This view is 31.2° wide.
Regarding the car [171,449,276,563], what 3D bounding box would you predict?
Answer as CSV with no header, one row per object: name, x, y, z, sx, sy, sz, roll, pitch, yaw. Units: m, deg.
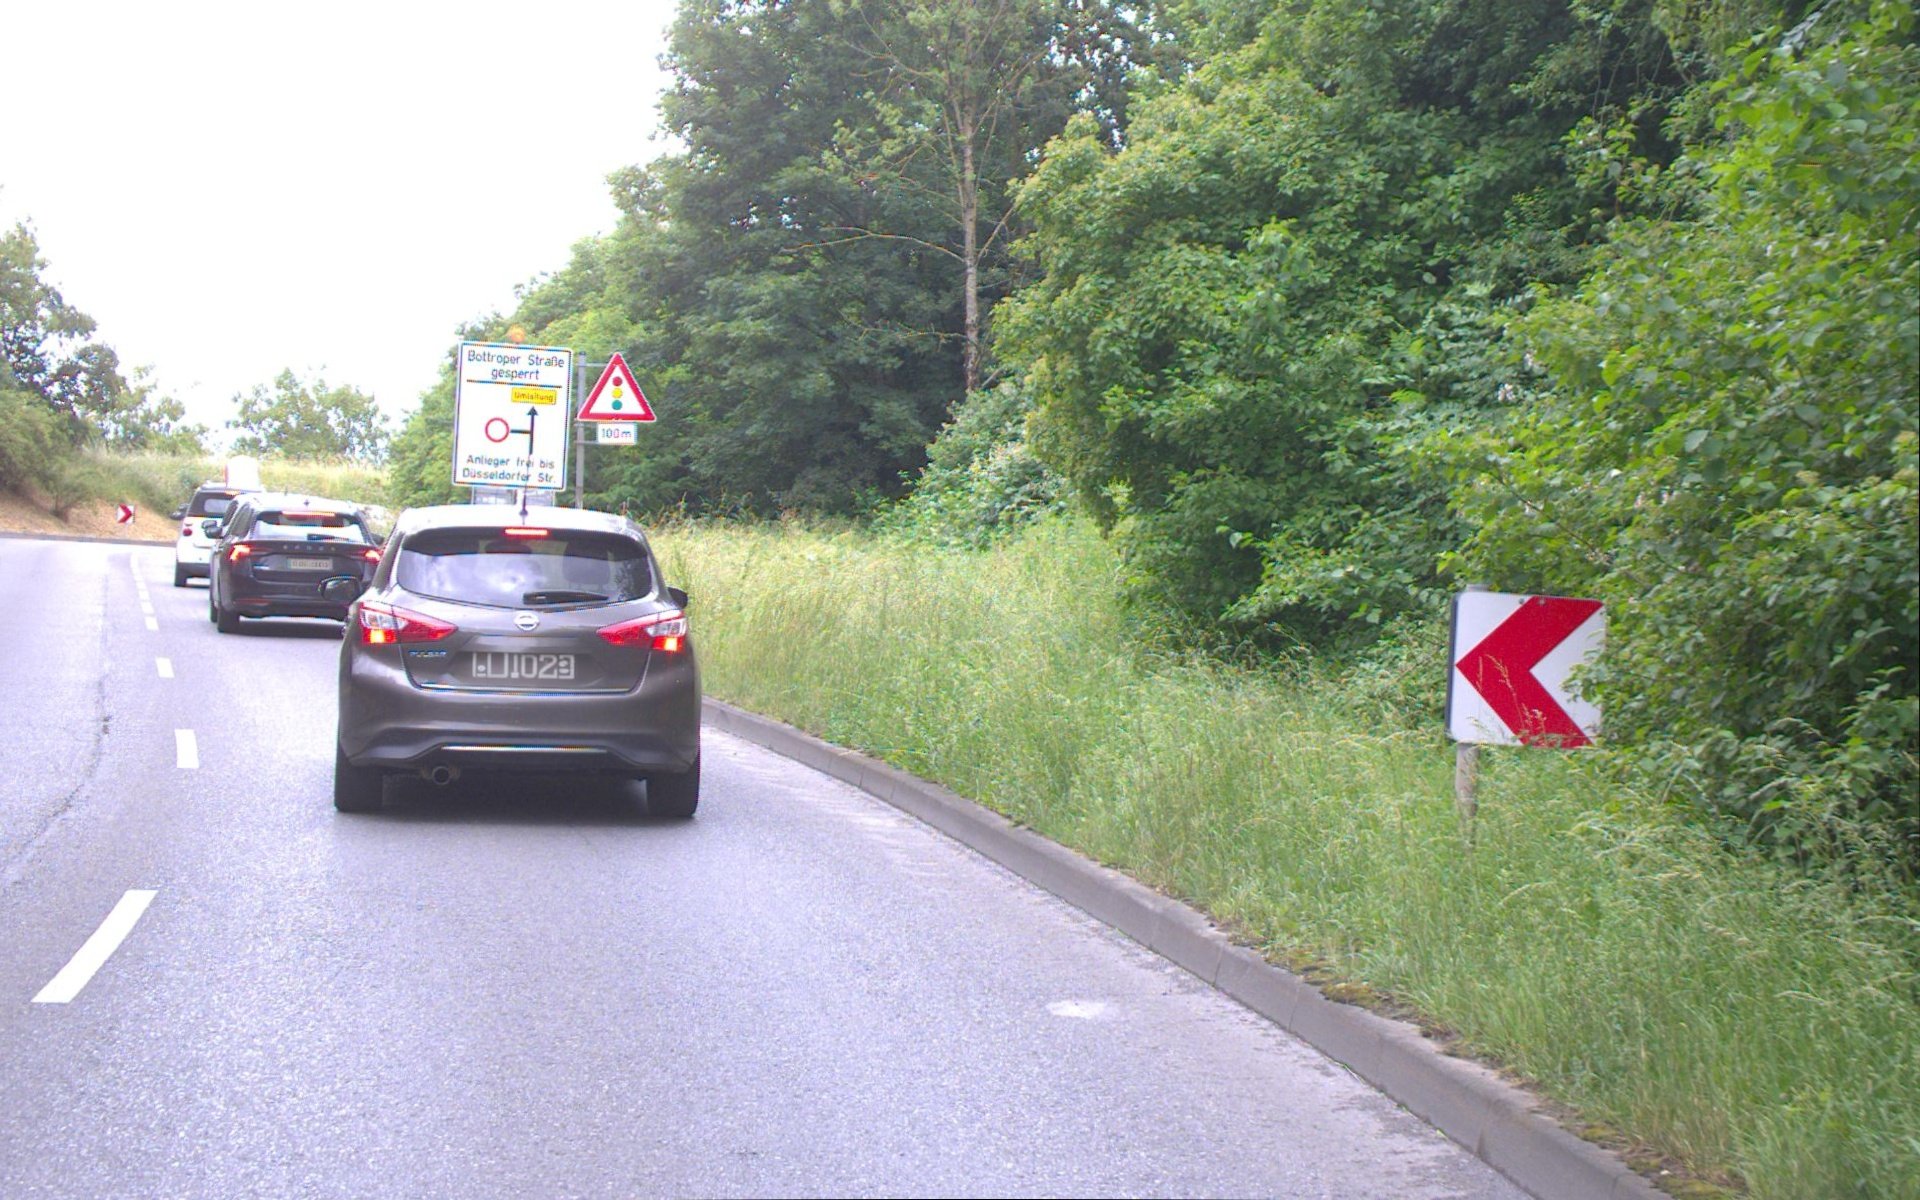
car,-12.994,-1.661,60.554,1.735,1.928,3.545,1,2,-13

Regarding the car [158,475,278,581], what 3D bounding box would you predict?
car,-11.493,-1.131,53.170,1.735,1.551,3.545,1,2,-13

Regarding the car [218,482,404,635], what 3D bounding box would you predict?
car,-7.093,-0.486,37.350,1.829,1.551,3.626,1,2,-13

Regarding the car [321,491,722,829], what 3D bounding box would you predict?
car,-2.359,0.234,17.777,1.830,1.551,3.500,1,2,-11

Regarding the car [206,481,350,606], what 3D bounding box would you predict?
car,-9.005,-0.770,45.254,1.735,1.551,3.545,1,2,-13
